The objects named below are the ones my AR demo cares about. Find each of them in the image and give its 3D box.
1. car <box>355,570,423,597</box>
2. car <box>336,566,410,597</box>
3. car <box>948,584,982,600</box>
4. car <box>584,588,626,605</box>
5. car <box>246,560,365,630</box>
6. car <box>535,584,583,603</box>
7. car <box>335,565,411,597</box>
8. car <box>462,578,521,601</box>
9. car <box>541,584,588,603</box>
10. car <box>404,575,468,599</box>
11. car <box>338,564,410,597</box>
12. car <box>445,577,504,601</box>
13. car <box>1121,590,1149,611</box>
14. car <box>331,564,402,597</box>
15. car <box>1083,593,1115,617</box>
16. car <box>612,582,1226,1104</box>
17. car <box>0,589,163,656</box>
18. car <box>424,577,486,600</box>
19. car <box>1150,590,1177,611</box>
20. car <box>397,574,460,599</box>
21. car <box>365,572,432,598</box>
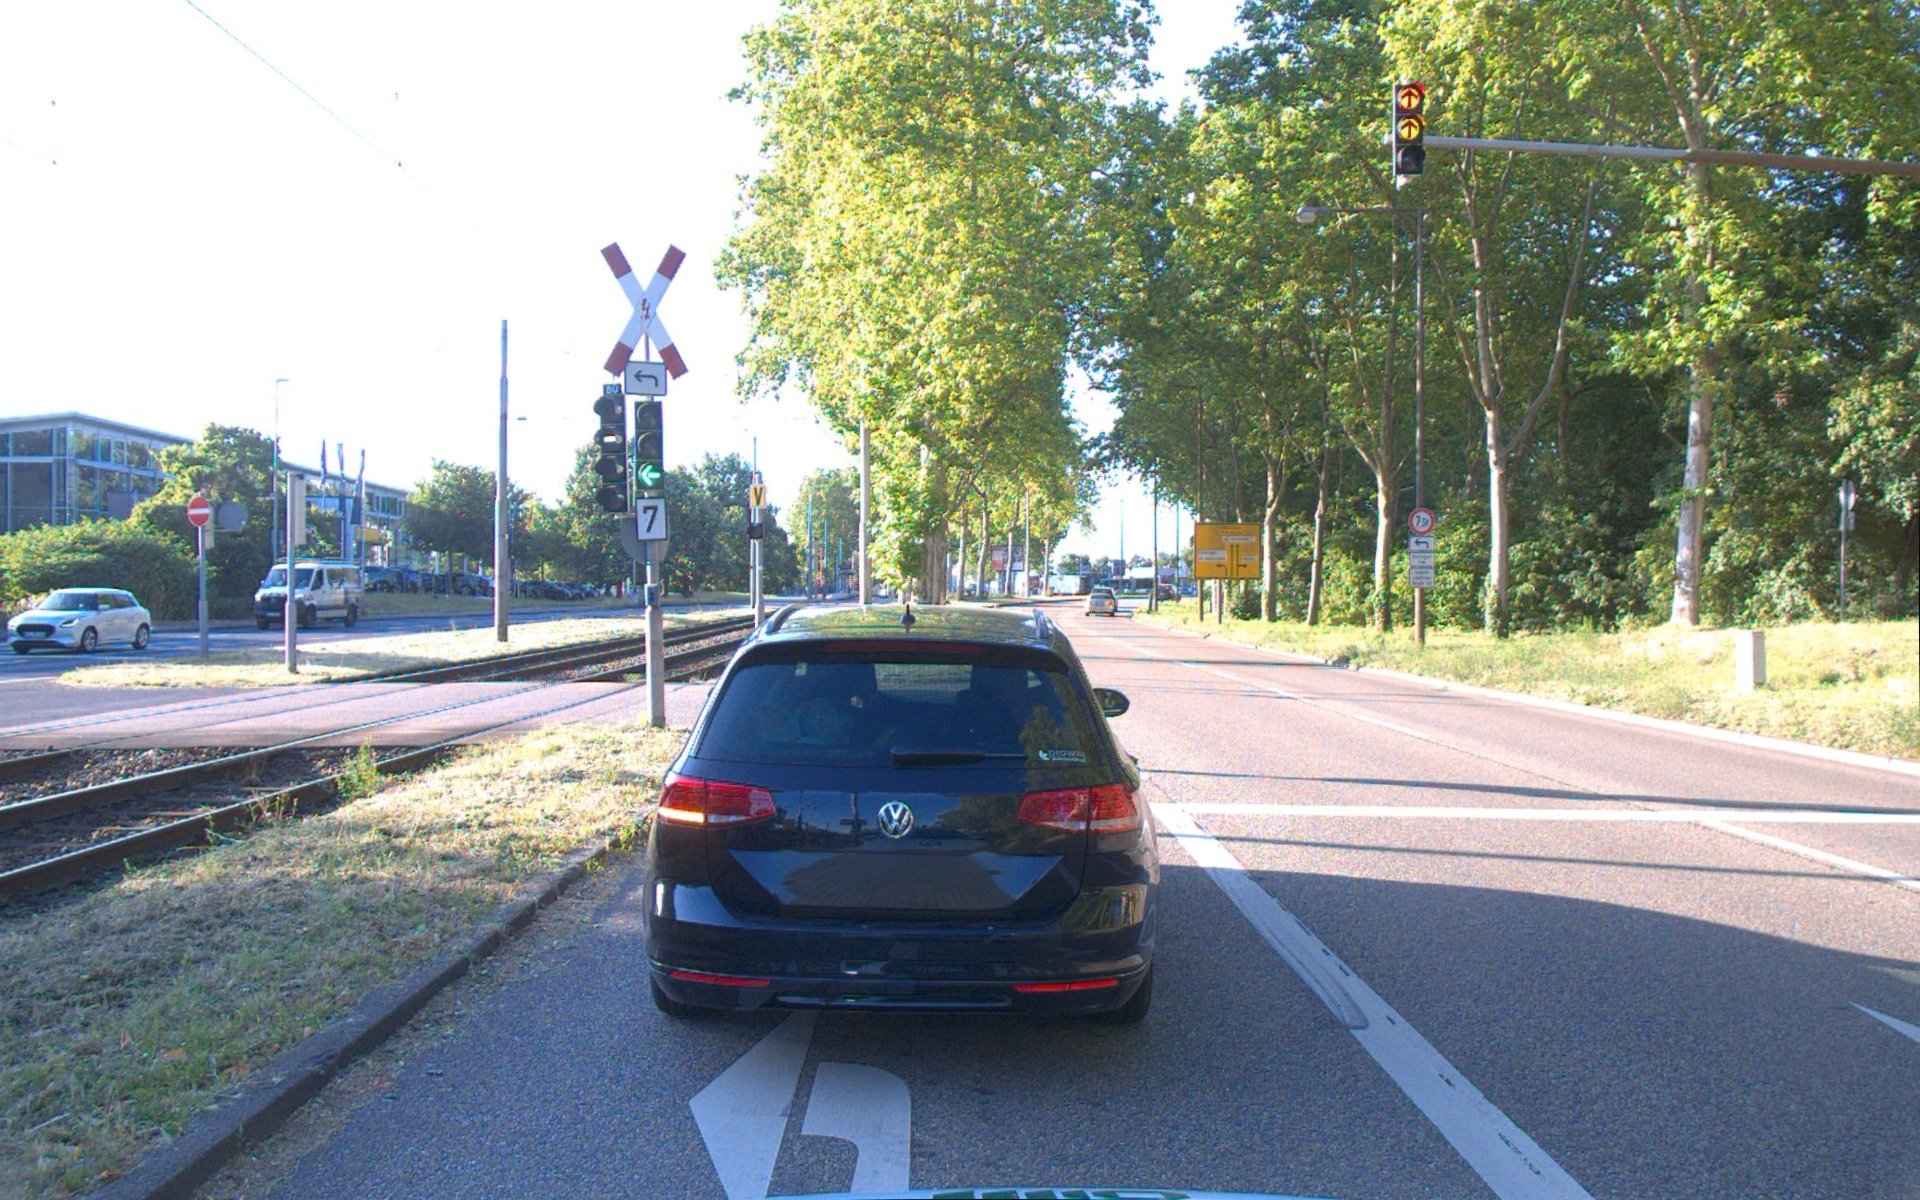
[{"bbox_3d":[-35.201,-0.984,101.927,3.930,1.583,1.732,1,0,-22],"label":"car"},{"bbox_3d":[-33.693,-1.059,94.949,3.930,1.734,1.732,1,0,-22],"label":"car"},{"bbox_3d":[0.476,-0.724,155.988,1.952,1.445,4.001,1,0,20],"label":"car"},{"bbox_3d":[-35.960,-0.345,167.430,3.909,1.583,1.742,1,0,-5],"label":"car"},{"bbox_3d":[-25.062,-0.208,63.586,2.051,2.504,5.854,1,1,2],"label":"car"},{"bbox_3d":[-35.217,-0.567,145.369,3.909,1.649,1.742,1,0,-6],"label":"car"},{"bbox_3d":[-32.910,-1.049,92.710,3.930,1.734,1.732,1,0,-22],"label":"car"},{"bbox_3d":[-35.239,-0.774,124.466,3.909,1.649,1.742,1,0,-6],"label":"car"},{"bbox_3d":[-35.514,-0.542,148.527,3.909,1.649,1.742,1,0,-6],"label":"car"},{"bbox_3d":[-36.038,-0.871,113.796,3.913,1.583,1.740,1,0,-9],"label":"car"},{"bbox_3d":[-34.441,-1.123,97.275,3.930,1.848,1.732,1,0,-22],"label":"car"},{"bbox_3d":[-35.569,-0.815,121.250,3.909,1.649,1.742,1,0,-6],"label":"car"},{"bbox_3d":[20.720,0.026,195.821,2.051,2.361,5.855,1,1,18],"label":"car"},{"bbox_3d":[-35.548,-1.155,99.012,3.930,1.848,1.732,1,0,-22],"label":"car"},{"bbox_3d":[8.117,0.273,96.832,1.576,1.317,3.983,1,0,0],"label":"car"},{"bbox_3d":[-0.150,0.705,6.594,1.758,1.490,3.582,1,0,-1],"label":"car"},{"bbox_3d":[-21.144,0.501,39.943,1.824,1.507,4.091,1,1,-1],"label":"car"},{"bbox_3d":[-35.777,-0.831,117.319,3.911,1.583,1.741,1,0,-7],"label":"car"},{"bbox_3d":[17.723,0.040,143.889,1.832,1.663,4.373,4,0,12],"label":"car"},{"bbox_3d":[-35.706,-0.891,111.101,3.930,1.583,1.732,1,0,-22],"label":"car"},{"bbox_3d":[-35.542,-0.957,104.706,3.930,1.583,1.732,1,0,-22],"label":"car"}]
